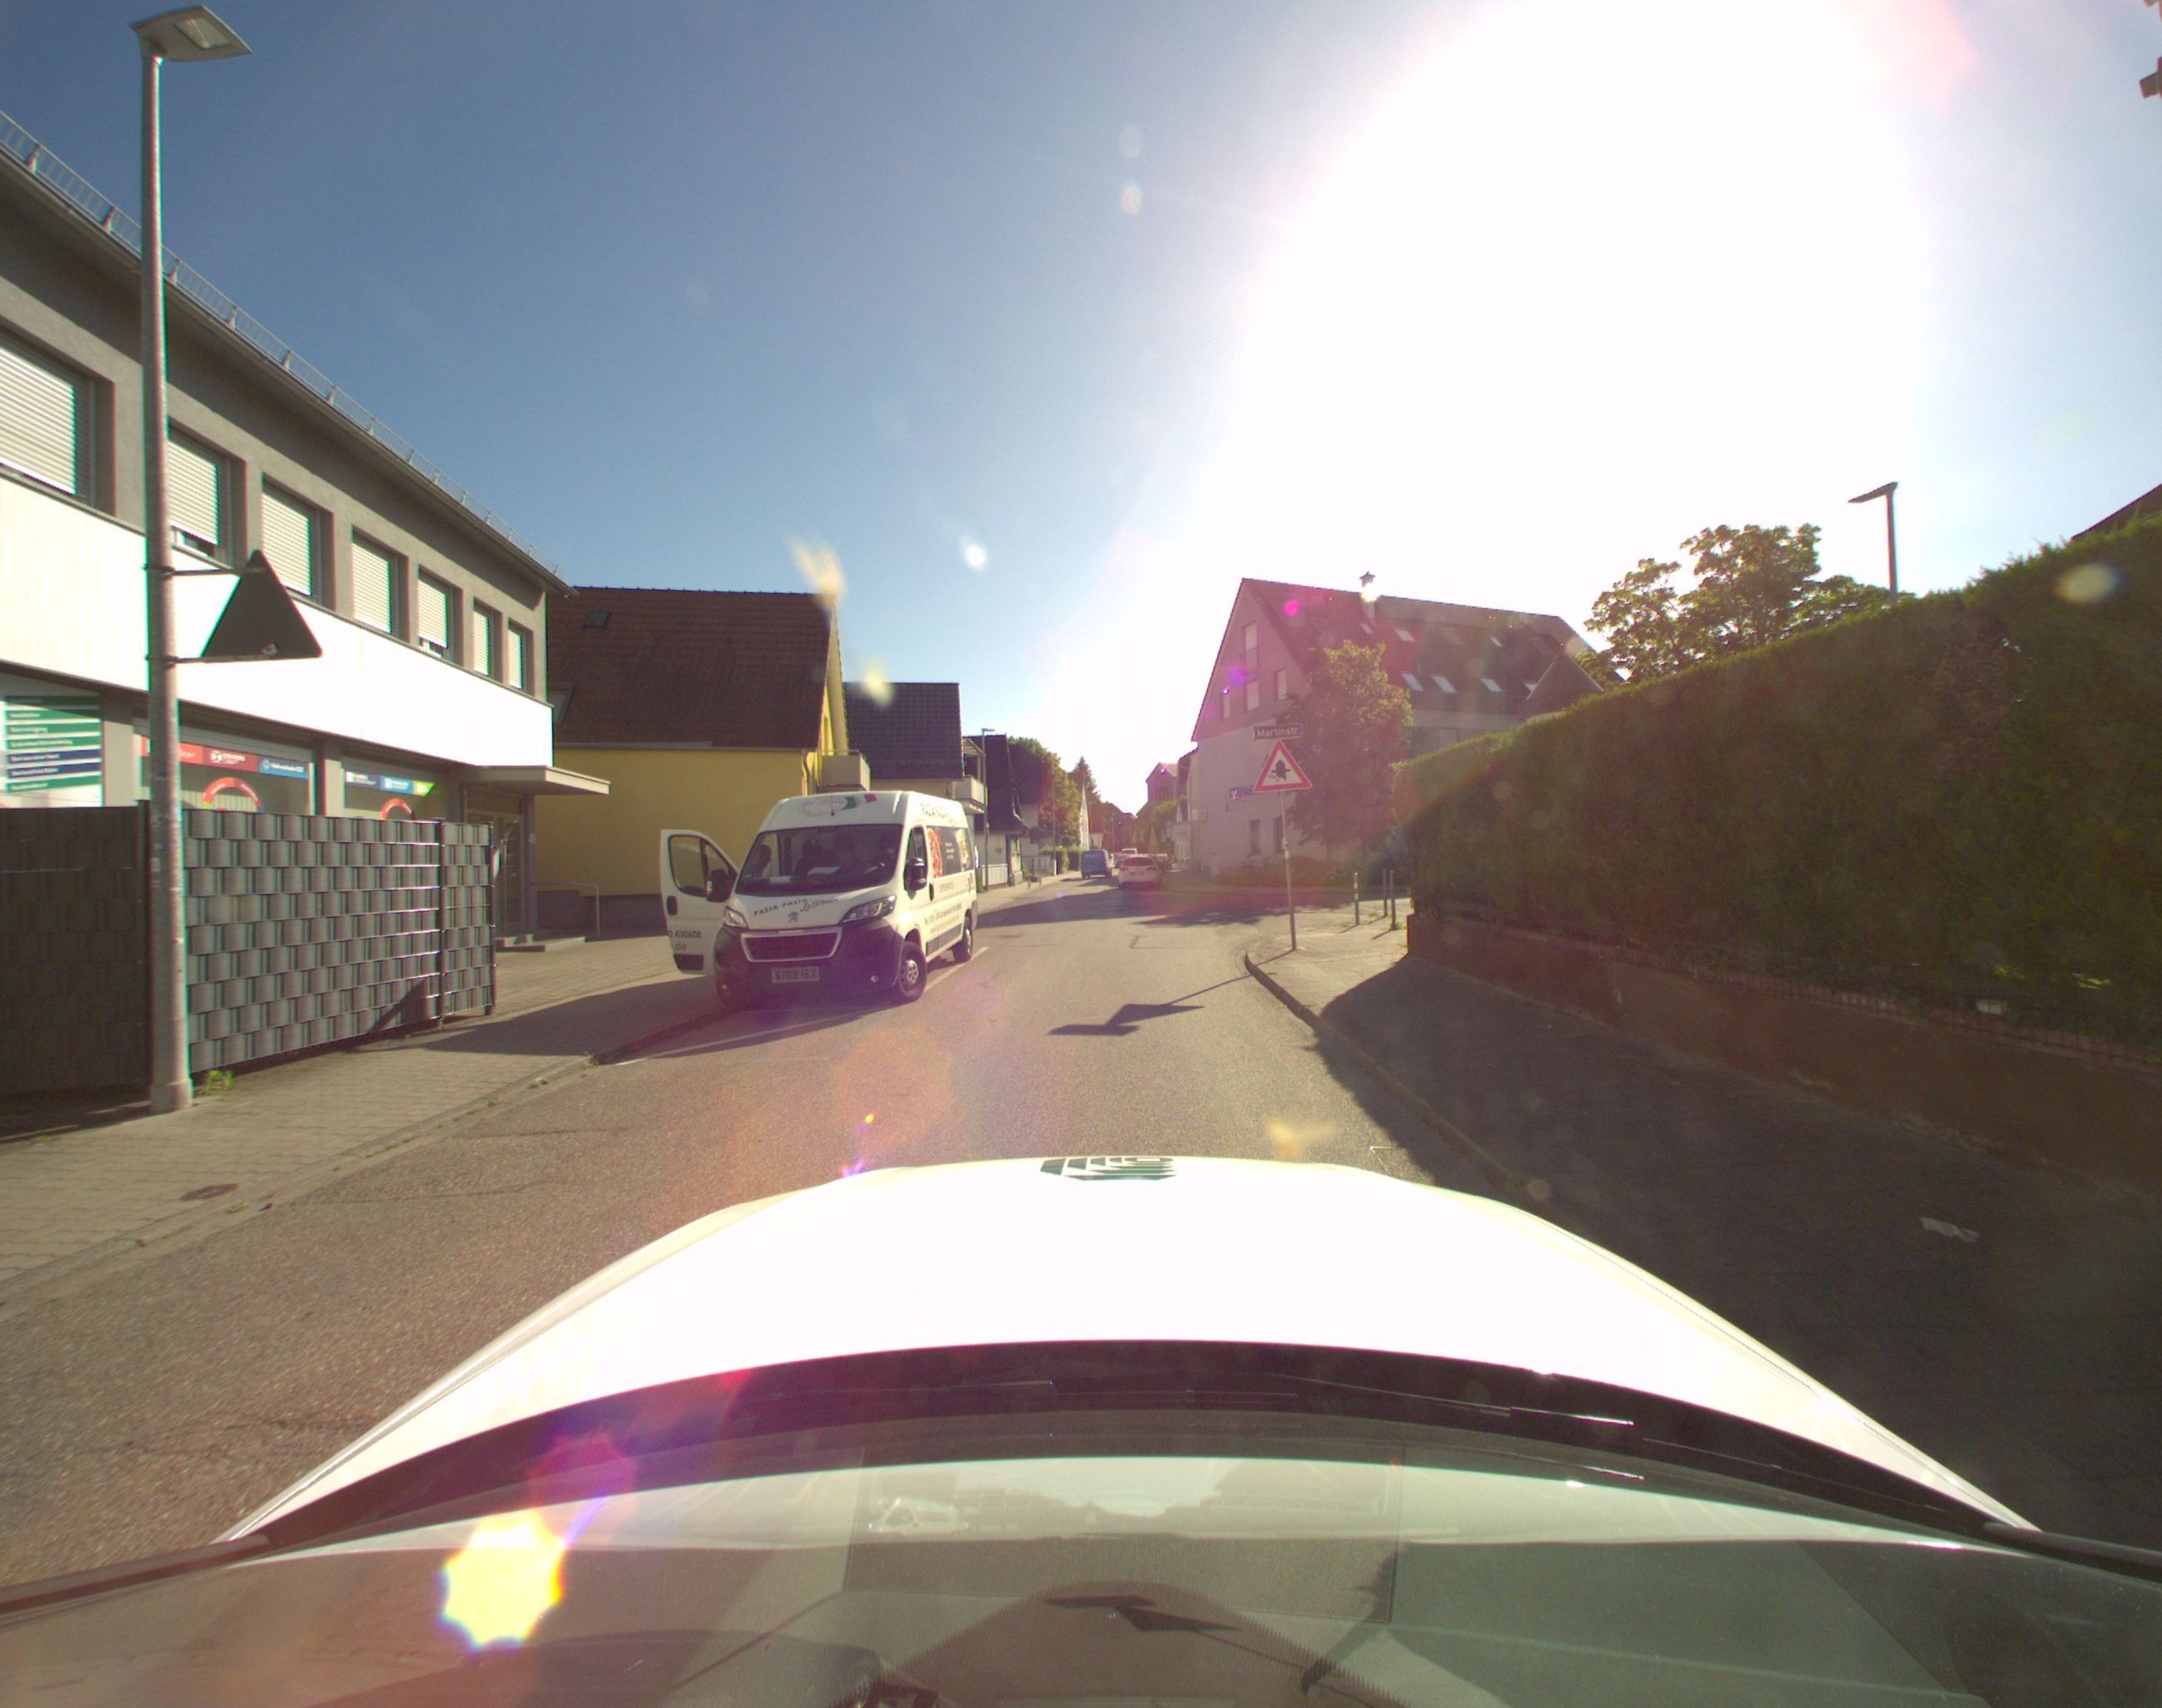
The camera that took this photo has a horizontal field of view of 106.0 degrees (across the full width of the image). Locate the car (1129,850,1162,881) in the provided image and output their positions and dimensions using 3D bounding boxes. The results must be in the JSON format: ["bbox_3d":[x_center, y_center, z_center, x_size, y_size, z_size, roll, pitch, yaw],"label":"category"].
[{"bbox_3d":[3.288,0.546,41.988,1.603,1.521,3.975,0,0,4],"label":"car"}]

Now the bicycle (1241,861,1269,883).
[{"bbox_3d":[7.648,0.783,35.715,1.155,0.920,0.314,-2,0,12],"label":"bicycle"}]

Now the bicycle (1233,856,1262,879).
[{"bbox_3d":[7.556,0.621,37.005,1.212,0.975,0.321,-2,0,18],"label":"bicycle"}]

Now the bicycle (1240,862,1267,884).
[{"bbox_3d":[7.667,0.836,36.236,1.155,0.920,0.314,-2,0,12],"label":"bicycle"}]

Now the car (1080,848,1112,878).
[{"bbox_3d":[1.071,0.585,56.083,1.894,1.917,5.074,-3,0,3],"label":"car"}]

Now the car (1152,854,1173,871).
[{"bbox_3d":[7.422,0.735,73.764,1.802,1.475,4.667,-1,0,6],"label":"car"}]

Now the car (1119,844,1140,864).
[{"bbox_3d":[6.384,-0.030,106.591,2.185,2.390,6.076,-4,0,7],"label":"car"}]

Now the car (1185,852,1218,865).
[{"bbox_3d":[15.256,0.542,102.958,3.883,1.492,1.855,-3,-1,15],"label":"car"}]

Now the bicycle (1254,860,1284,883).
[{"bbox_3d":[7.847,0.717,33.941,1.158,0.920,0.313,-2,0,2],"label":"bicycle"}]

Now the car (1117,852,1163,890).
[{"bbox_3d":[2.646,0.705,36.070,1.837,1.514,4.512,-2,0,5],"label":"car"}]

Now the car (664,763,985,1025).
[{"bbox_3d":[-2.850,0.395,10.746,2.244,2.470,5.518,-2,0,2],"label":"car"}]

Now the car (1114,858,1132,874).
[{"bbox_3d":[4.845,1.367,94.161,1.705,1.598,3.933,-3,0,7],"label":"car"}]
